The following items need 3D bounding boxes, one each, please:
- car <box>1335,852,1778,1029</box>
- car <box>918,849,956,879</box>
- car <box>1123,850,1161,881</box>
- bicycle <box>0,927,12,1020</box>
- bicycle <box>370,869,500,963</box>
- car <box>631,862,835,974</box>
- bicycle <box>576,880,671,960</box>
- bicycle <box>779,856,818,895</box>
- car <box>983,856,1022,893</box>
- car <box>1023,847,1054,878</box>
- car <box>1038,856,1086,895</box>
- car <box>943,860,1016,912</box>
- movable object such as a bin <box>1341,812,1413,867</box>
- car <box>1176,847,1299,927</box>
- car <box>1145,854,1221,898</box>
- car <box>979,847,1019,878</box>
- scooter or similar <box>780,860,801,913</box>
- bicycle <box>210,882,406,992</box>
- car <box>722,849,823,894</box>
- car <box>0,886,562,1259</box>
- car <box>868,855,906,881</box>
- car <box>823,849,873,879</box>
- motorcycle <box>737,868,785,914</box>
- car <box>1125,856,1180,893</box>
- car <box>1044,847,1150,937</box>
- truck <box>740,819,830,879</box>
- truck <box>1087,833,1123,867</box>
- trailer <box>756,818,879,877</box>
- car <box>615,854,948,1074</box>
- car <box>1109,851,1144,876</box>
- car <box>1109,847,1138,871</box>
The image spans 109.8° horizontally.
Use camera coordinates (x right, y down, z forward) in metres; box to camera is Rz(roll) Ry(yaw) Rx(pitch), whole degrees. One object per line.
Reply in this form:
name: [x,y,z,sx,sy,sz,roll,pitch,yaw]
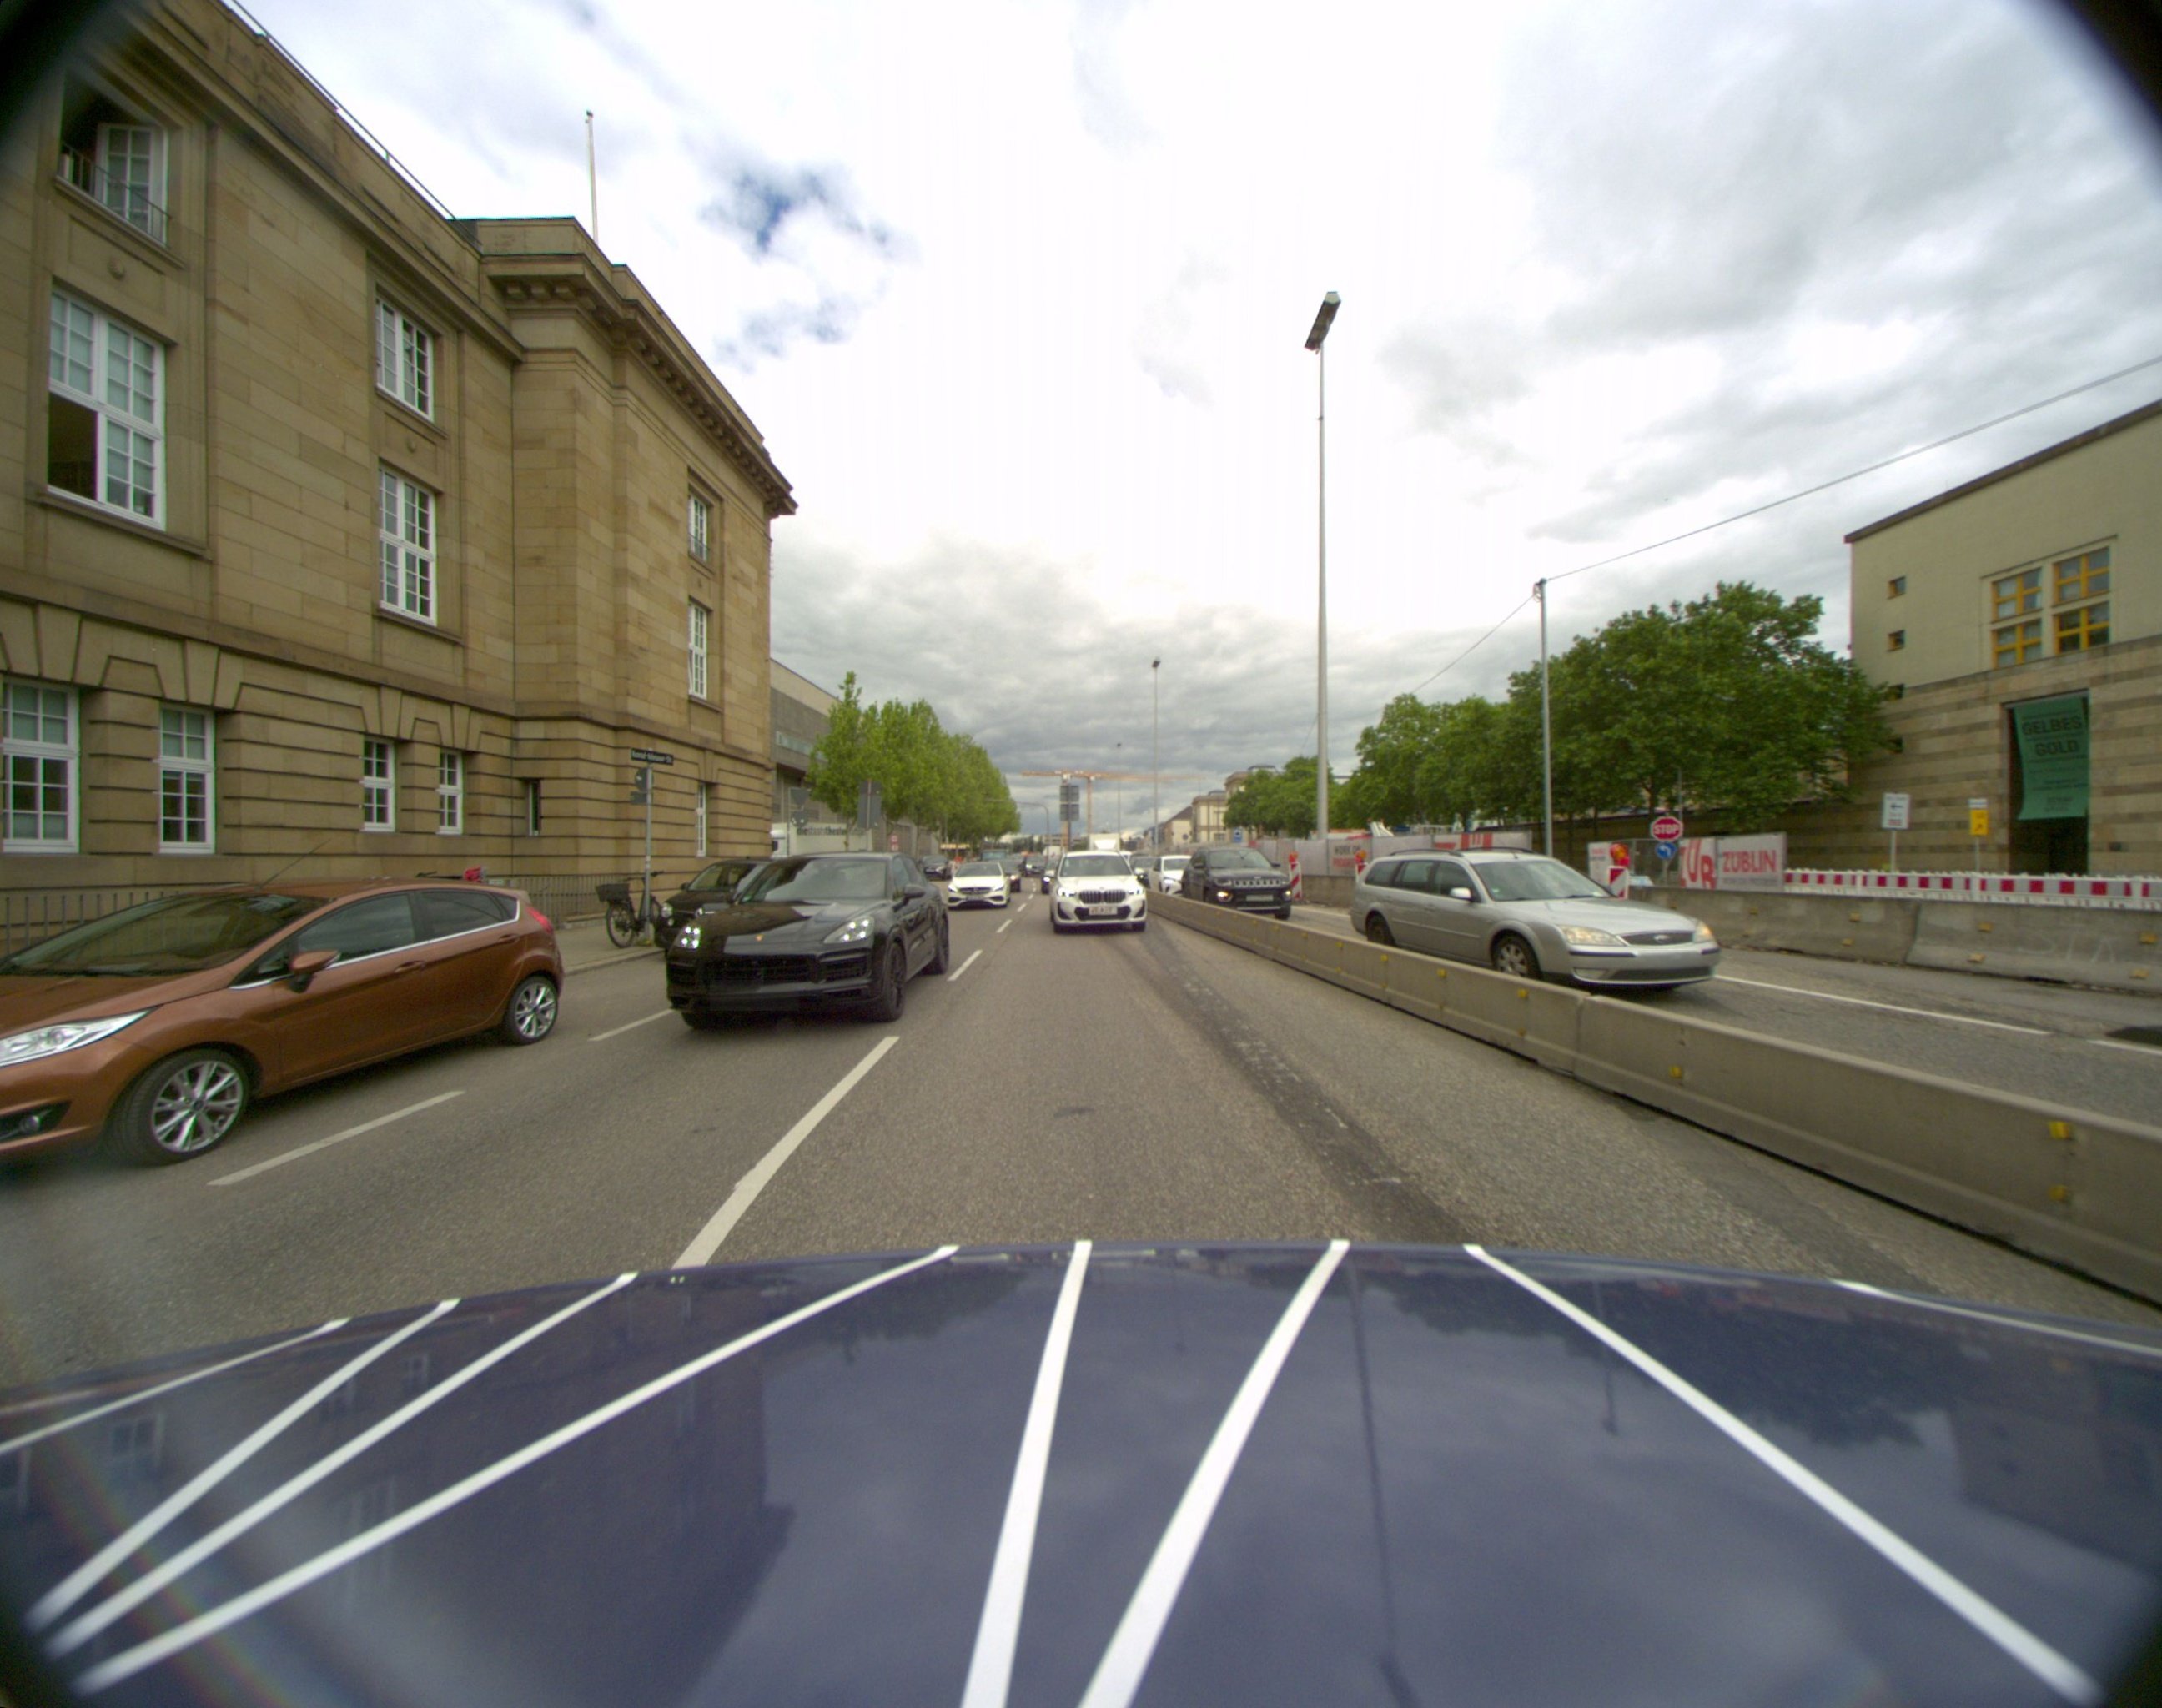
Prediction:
car: [5.009,0.744,9.020,1.884,1.473,4.701,-2,1,-7]
car: [-8.995,0.615,47.778,1.810,1.728,4.484,-2,0,-4]
car: [3.222,0.564,40.595,1.634,1.546,3.001,-2,1,-2]
bicycle: [-10.016,1.110,6.025,0.307,0.839,1.878,-3,1,3]
bicycle: [-9.851,0.903,11.675,0.413,1.281,1.790,-1,1,1]
car: [-5.527,0.921,12.594,1.549,1.543,3.709,0,0,2]
bicycle: [-7.519,1.042,12.588,0.461,1.150,1.831,-1,0,0]
bicycle: [-9.545,0.698,25.754,0.610,1.217,1.962,2,0,-2]
car: [-3.404,0.868,33.490,1.613,1.464,3.620,-1,0,-5]
car: [-3.038,0.577,53.577,1.999,2.002,3.998,-2,0,-5]
car: [-0.735,0.852,31.587,1.802,1.429,4.020,-2,1,0]
car: [-3.087,0.945,23.855,1.935,1.368,3.998,-2,1,-4]
movable object such as a bin: [12.262,-0.587,31.670,1.526,2.172,3.291,-1,0,-4]
car: [3.523,0.674,17.878,1.781,1.611,4.044,-2,1,-4]
car: [3.321,0.675,25.357,1.731,1.288,3.933,-2,1,-4]
car: [-5.177,0.505,48.481,1.952,1.914,4.399,-1,0,1]
scooter or similar: [-7.393,0.800,19.369,0.453,1.246,1.366,-1,2,-20]
bicycle: [-9.980,1.017,9.926,0.557,1.210,1.915,-1,0,1]
car: [-11.104,0.606,27.732,1.783,1.460,4.574,-2,0,0]
car: [-5.539,1.037,4.967,1.620,1.447,3.858,0,1,0]
car: [-12.385,0.846,48.630,1.584,1.521,3.503,-2,1,-1]
car: [-14.912,0.603,48.889,1.810,1.773,4.620,-4,1,-1]
motorcycle: [-9.246,1.035,22.034,0.456,1.235,1.923,0,1,4]
car: [3.096,0.857,33.913,1.859,1.407,4.564,-2,0,-2]
car: [0.184,0.678,16.539,1.856,1.619,4.904,-2,1,-4]
truck: [-21.279,-0.376,55.140,3.138,4.061,6.576,-1,1,8]
truck: [2.072,-0.348,67.201,2.978,2.757,7.254,0,0,0]
trailer: [-20.581,-0.598,61.019,3.154,4.077,13.978,-3,1,8]
car: [-2.756,0.882,8.179,1.908,1.648,4.199,-1,1,-1]
car: [2.808,0.577,47.406,1.652,1.430,3.933,-2,0,-3]
car: [3.184,0.330,57.535,1.842,1.751,4.479,0,0,-1]
